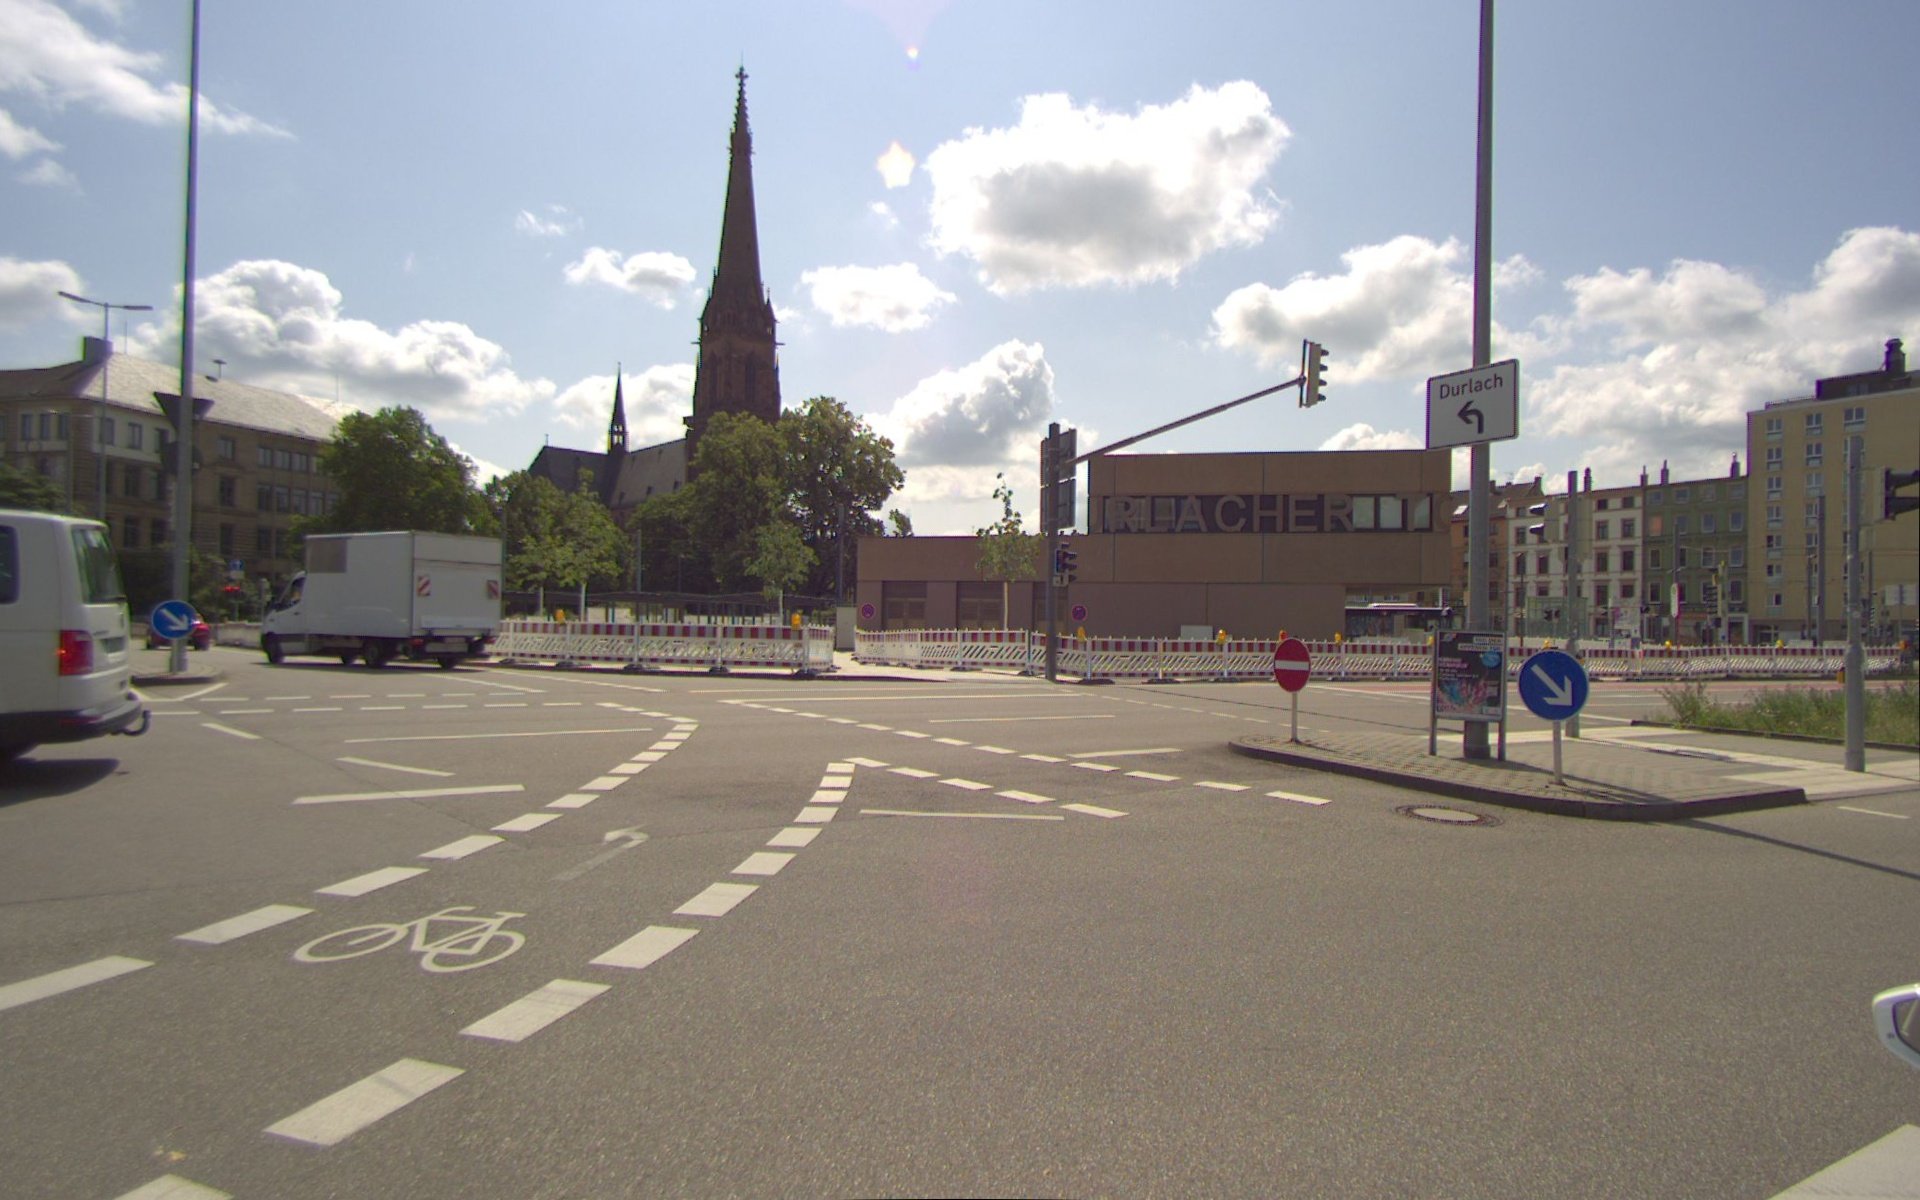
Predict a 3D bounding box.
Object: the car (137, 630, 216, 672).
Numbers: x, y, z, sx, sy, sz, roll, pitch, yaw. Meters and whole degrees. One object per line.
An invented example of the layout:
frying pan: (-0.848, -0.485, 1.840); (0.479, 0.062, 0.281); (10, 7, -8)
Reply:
car: (-29.799, 1.894, 38.183); (1.987, 1.505, 3.855); (2, -2, -44)

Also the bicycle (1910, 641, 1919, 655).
bicycle: (81.439, 4.039, 84.979); (0.501, 1.162, 2.136); (2, -1, 11)

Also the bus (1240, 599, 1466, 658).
bus: (22.837, 1.643, 59.064); (12.017, 2.897, 2.597); (2, -1, 11)

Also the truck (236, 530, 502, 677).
truck: (-14.203, 0.010, 23.948); (7.197, 3.108, 1.997); (2, -1, 29)

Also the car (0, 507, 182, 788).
car: (-8.449, 0.306, 6.793); (4.815, 1.919, 1.871); (1, -1, -32)
